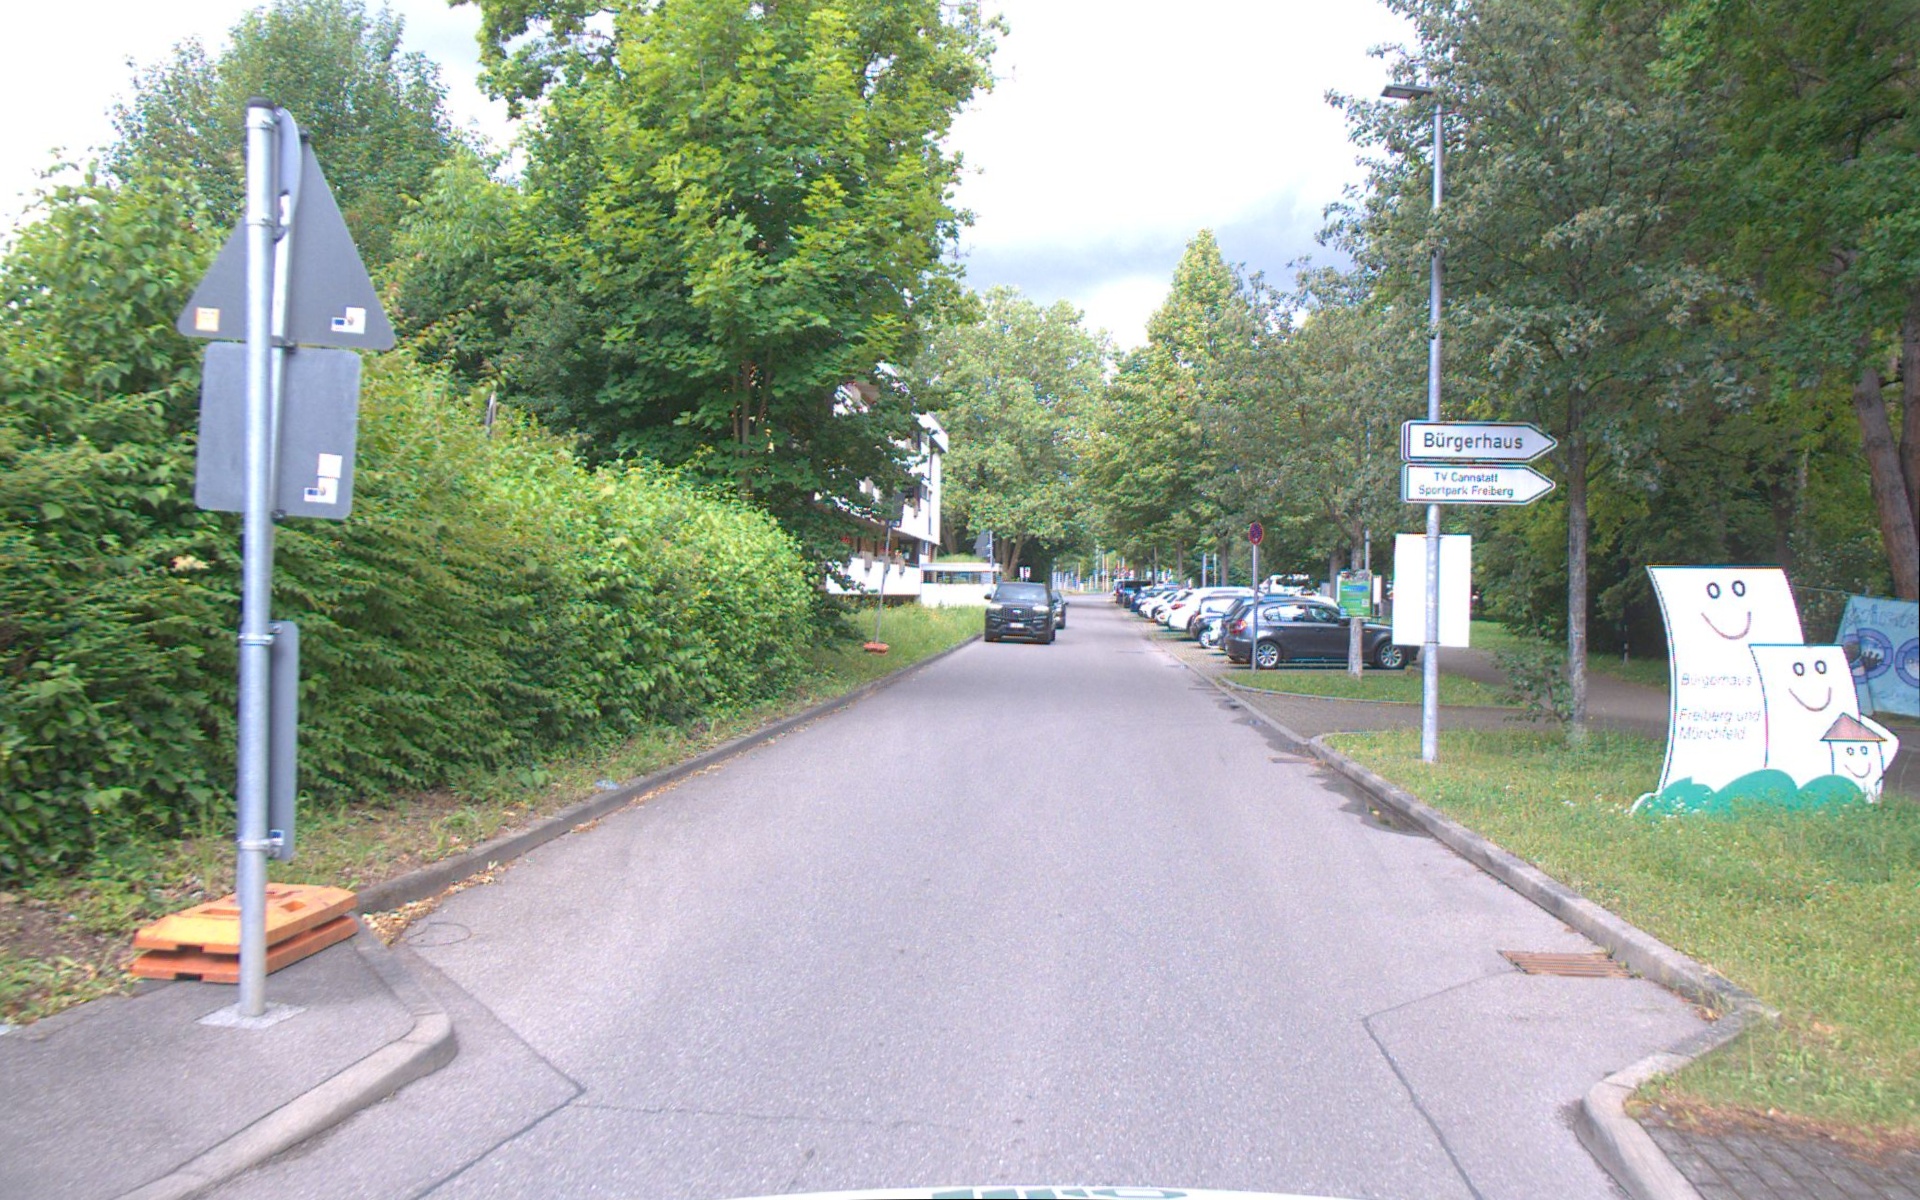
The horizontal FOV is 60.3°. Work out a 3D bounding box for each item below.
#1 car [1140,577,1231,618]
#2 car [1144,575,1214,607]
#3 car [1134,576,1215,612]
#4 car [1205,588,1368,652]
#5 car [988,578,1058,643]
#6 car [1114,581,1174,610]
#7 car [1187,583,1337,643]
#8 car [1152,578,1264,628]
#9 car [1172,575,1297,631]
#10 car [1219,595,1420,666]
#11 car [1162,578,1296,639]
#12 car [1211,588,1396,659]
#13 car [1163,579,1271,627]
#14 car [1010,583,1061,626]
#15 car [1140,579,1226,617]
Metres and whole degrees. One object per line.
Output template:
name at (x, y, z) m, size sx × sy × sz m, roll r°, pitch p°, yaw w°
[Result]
car at (10.438, -0.127, 76.743) m, size 3.979 × 1.717 × 1.823 m, roll -3°, pitch 0°, yaw 1°
car at (13.472, -0.569, 101.876) m, size 3.979 × 1.801 × 1.823 m, roll -3°, pitch 0°, yaw 1°
car at (11.354, -0.327, 87.701) m, size 3.979 × 1.717 × 1.823 m, roll -3°, pitch 0°, yaw 1°
car at (8.501, 0.507, 43.300) m, size 3.977 × 1.595 × 1.823 m, roll 0°, pitch 0°, yaw 4°
car at (1.914, 0.279, 49.088) m, size 1.927 × 1.778 × 4.340 m, roll 1°, pitch 0°, yaw 3°
car at (12.846, -0.301, 115.830) m, size 3.979 × 1.801 × 1.823 m, roll -3°, pitch 0°, yaw 1°
car at (8.710, 0.356, 47.983) m, size 3.979 × 1.514 × 1.823 m, roll -3°, pitch 0°, yaw 1°
car at (9.512, 0.093, 63.617) m, size 3.979 × 1.717 × 1.823 m, roll -3°, pitch 0°, yaw 1°
car at (9.440, 0.097, 57.167) m, size 3.979 × 1.717 × 1.823 m, roll -3°, pitch 0°, yaw 1°
car at (7.697, 0.657, 35.692) m, size 3.977 × 1.459 × 2.001 m, roll 0°, pitch -1°, yaw 4°
car at (8.596, 0.259, 53.124) m, size 3.979 × 1.717 × 1.823 m, roll -3°, pitch 0°, yaw 1°
car at (7.921, 0.558, 38.406) m, size 3.977 × 1.596 × 1.823 m, roll 0°, pitch -1°, yaw 4°
car at (10.239, 0.109, 66.136) m, size 3.979 × 1.717 × 1.823 m, roll -3°, pitch 0°, yaw 1°
car at (3.026, 0.174, 65.755) m, size 1.927 × 1.603 × 4.340 m, roll 1°, pitch 0°, yaw 3°
car at (11.062, -0.112, 82.290) m, size 3.979 × 1.717 × 1.823 m, roll -3°, pitch 0°, yaw 1°
